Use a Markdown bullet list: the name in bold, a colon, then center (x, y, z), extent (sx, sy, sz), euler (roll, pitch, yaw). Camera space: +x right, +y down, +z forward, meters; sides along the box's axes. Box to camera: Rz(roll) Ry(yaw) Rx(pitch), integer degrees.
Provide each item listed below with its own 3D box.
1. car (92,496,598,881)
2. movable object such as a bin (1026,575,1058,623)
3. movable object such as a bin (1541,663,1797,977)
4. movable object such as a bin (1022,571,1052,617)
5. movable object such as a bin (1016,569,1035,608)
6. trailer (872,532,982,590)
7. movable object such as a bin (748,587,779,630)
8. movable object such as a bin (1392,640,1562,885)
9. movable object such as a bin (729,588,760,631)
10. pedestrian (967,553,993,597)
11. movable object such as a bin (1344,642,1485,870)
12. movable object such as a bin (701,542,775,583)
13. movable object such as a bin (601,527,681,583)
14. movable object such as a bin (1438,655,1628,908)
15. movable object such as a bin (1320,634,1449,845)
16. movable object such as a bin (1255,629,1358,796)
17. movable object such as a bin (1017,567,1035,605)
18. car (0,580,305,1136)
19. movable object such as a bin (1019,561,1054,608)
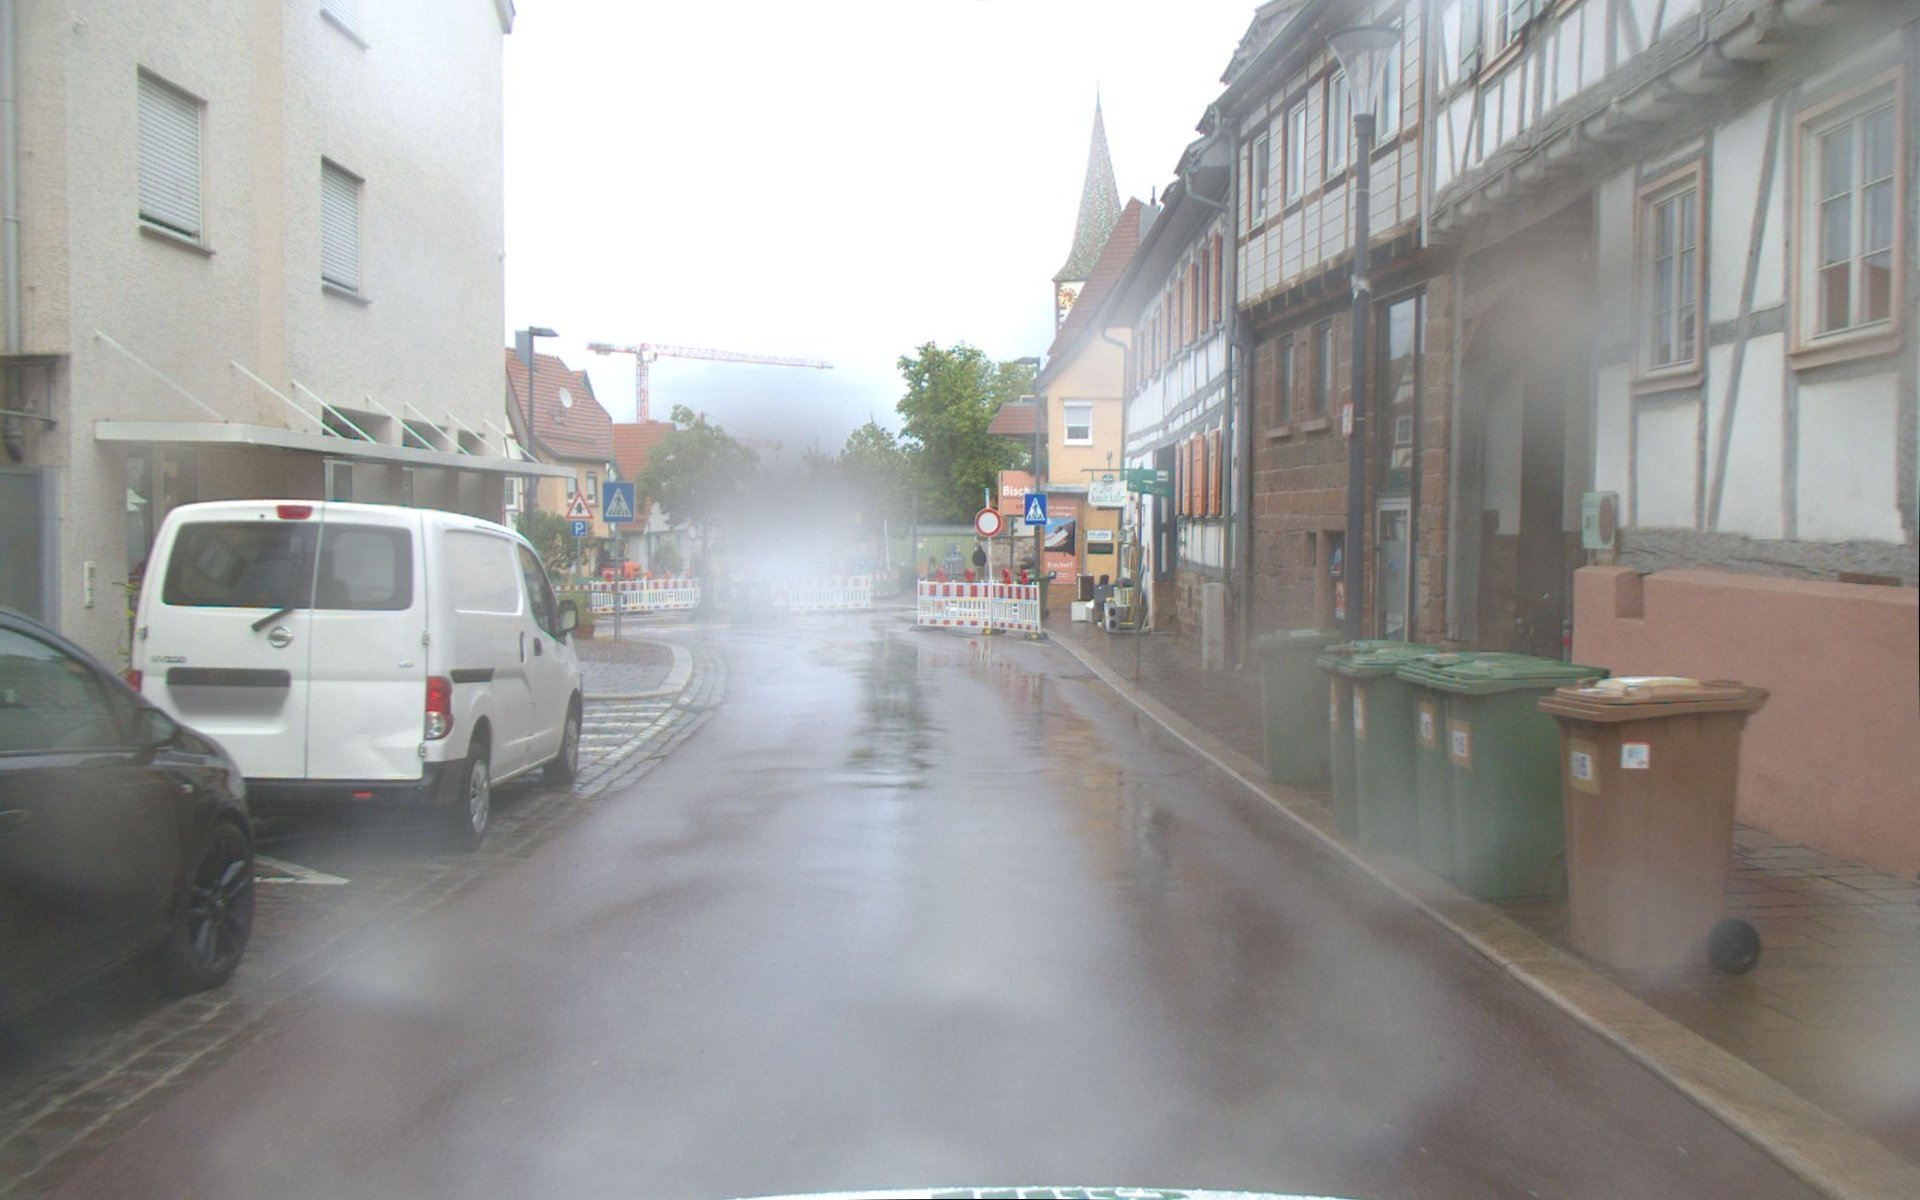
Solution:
- **car**: center (-3.468, 0.409, 10.257), extent (1.689, 1.857, 4.426), euler (1, 1, -3)
- **movable object such as a bin**: center (1.953, -0.022, 39.418), extent (0.666, 1.084, 0.539), euler (-2, 4, -9)
- **movable object such as a bin**: center (2.722, 0.825, 6.405), extent (0.665, 1.115, 0.650), euler (1, 1, -5)
- **movable object such as a bin**: center (1.861, -0.146, 40.103), extent (0.603, 1.084, 0.540), euler (-1, 0, 15)
- **movable object such as a bin**: center (2.005, -0.351, 50.750), extent (0.507, 1.151, 0.580), euler (-3, 2, 2)
- **trailer**: center (-1.770, -2.049, 87.939), extent (5.670, 2.999, 1.997), euler (1, 0, -6)
- **movable object such as a bin**: center (-4.851, 0.217, 40.906), extent (0.533, 1.051, 0.533), euler (-2, -1, 32)
- **movable object such as a bin**: center (2.600, 0.802, 8.363), extent (0.625, 1.167, 0.632), euler (1, 0, -4)
- **movable object such as a bin**: center (-5.372, 0.240, 41.229), extent (0.530, 1.055, 0.571), euler (-2, -1, 32)
- **pedestrian**: center (0.845, -1.047, 69.455), extent (0.971, 1.789, 0.850), euler (1, 0, -7)
- **movable object such as a bin**: center (2.465, 0.830, 9.019), extent (0.624, 1.167, 0.604), euler (1, 0, 4)
- **movable object such as a bin**: center (-11.501, -1.938, 85.964), extent (3.332, 2.049, 3.479), euler (1, 1, 0)
- **movable object such as a bin**: center (-12.570, -1.747, 65.383), extent (1.864, 2.049, 4.003), euler (-2, 0, 7)
- **movable object such as a bin**: center (2.650, 0.819, 7.700), extent (0.656, 1.100, 0.587), euler (-1, 0, -3)
- **movable object such as a bin**: center (2.470, 0.795, 9.678), extent (0.624, 1.167, 0.580), euler (1, 0, 4)
- **movable object such as a bin**: center (2.485, 0.794, 11.917), extent (0.597, 1.147, 0.599), euler (1, 0, -1)
- **movable object such as a bin**: center (2.103, -0.449, 52.603), extent (0.505, 1.148, 0.580), euler (-3, 2, 2)
- **car**: center (-3.319, 0.656, 4.674), extent (1.648, 1.413, 3.822), euler (1, 1, -4)
- **movable object such as a bin**: center (2.668, -0.540, 57.476), extent (1.042, 1.539, 1.243), euler (-3, 1, 6)
